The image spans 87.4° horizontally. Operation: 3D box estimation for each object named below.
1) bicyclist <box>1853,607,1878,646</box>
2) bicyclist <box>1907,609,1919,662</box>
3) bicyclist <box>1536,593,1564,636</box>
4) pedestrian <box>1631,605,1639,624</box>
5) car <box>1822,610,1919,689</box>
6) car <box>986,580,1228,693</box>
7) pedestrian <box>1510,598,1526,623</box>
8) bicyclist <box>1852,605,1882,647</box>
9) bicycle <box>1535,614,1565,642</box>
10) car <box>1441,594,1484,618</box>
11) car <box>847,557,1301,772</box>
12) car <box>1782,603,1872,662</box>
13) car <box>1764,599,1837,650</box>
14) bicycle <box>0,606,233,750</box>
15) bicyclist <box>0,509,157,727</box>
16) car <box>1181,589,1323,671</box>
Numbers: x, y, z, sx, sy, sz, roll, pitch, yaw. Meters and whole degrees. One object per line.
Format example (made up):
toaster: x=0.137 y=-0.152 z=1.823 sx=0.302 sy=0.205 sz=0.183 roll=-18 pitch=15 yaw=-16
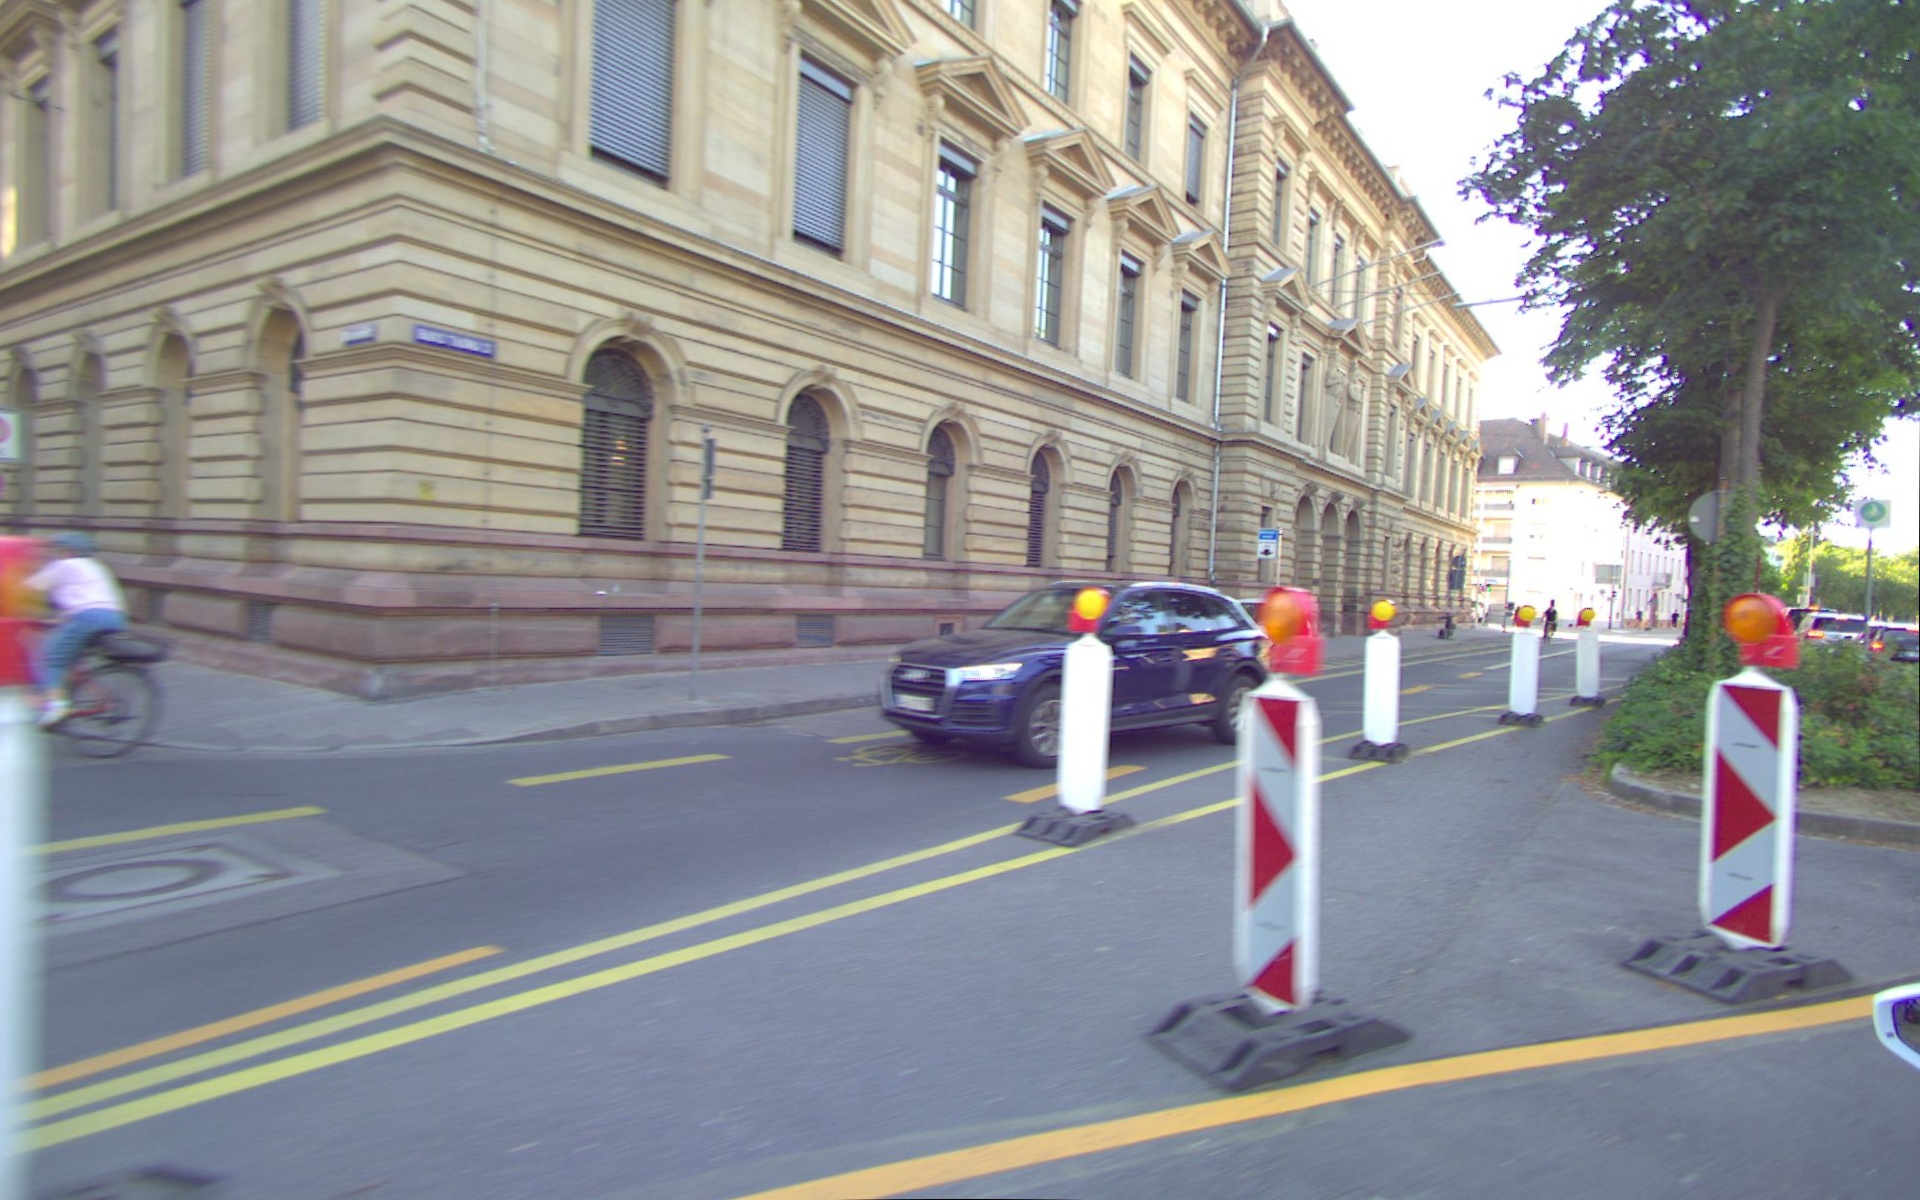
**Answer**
bicyclist: x=38.726 y=1.122 z=42.947 sx=0.662 sy=1.629 sz=0.821 roll=4 pitch=2 yaw=40
bicyclist: x=30.957 y=1.158 z=32.197 sx=0.664 sy=1.674 sz=0.883 roll=6 pitch=3 yaw=38
bicyclist: x=26.053 y=0.642 z=44.351 sx=0.870 sy=1.859 sz=1.281 roll=1 pitch=0 yaw=38
pedestrian: x=61.638 y=1.321 z=91.755 sx=0.475 sy=1.680 sz=0.470 roll=4 pitch=2 yaw=43
car: x=22.673 y=1.150 z=24.468 sx=1.967 sy=1.679 sz=4.721 roll=4 pitch=2 yaw=35
car: x=2.528 y=0.512 z=16.280 sx=1.855 sy=1.528 sz=4.625 roll=2 pitch=1 yaw=37
pedestrian: x=37.978 y=0.694 z=68.341 sx=0.624 sy=1.605 sz=0.814 roll=8 pitch=5 yaw=40
bicyclist: x=37.261 y=1.055 z=41.262 sx=0.793 sy=1.629 sz=0.821 roll=4 pitch=2 yaw=40
bicycle: x=26.103 y=1.229 z=44.435 sx=0.869 sy=1.210 sz=2.166 roll=1 pitch=0 yaw=38
car: x=40.499 y=0.496 z=80.914 sx=1.970 sy=1.709 sz=4.592 roll=4 pitch=2 yaw=40
car: x=1.316 y=0.517 z=10.116 sx=4.617 sy=1.693 sz=1.861 roll=1 pitch=1 yaw=-40
car: x=29.708 y=1.069 z=34.540 sx=1.966 sy=1.773 sz=4.728 roll=4 pitch=2 yaw=37
car: x=36.173 y=1.040 z=43.347 sx=2.041 sy=1.941 sz=5.014 roll=4 pitch=1 yaw=37
bicycle: x=-6.980 y=0.585 z=7.796 sx=2.086 sy=1.005 sz=0.638 roll=2 pitch=1 yaw=-7
bicyclist: x=-6.870 y=0.129 z=7.785 sx=0.749 sy=1.598 sz=0.643 roll=2 pitch=1 yaw=-7
car: x=6.388 y=0.596 z=21.746 sx=1.646 sy=1.528 sz=3.832 roll=4 pitch=2 yaw=37
